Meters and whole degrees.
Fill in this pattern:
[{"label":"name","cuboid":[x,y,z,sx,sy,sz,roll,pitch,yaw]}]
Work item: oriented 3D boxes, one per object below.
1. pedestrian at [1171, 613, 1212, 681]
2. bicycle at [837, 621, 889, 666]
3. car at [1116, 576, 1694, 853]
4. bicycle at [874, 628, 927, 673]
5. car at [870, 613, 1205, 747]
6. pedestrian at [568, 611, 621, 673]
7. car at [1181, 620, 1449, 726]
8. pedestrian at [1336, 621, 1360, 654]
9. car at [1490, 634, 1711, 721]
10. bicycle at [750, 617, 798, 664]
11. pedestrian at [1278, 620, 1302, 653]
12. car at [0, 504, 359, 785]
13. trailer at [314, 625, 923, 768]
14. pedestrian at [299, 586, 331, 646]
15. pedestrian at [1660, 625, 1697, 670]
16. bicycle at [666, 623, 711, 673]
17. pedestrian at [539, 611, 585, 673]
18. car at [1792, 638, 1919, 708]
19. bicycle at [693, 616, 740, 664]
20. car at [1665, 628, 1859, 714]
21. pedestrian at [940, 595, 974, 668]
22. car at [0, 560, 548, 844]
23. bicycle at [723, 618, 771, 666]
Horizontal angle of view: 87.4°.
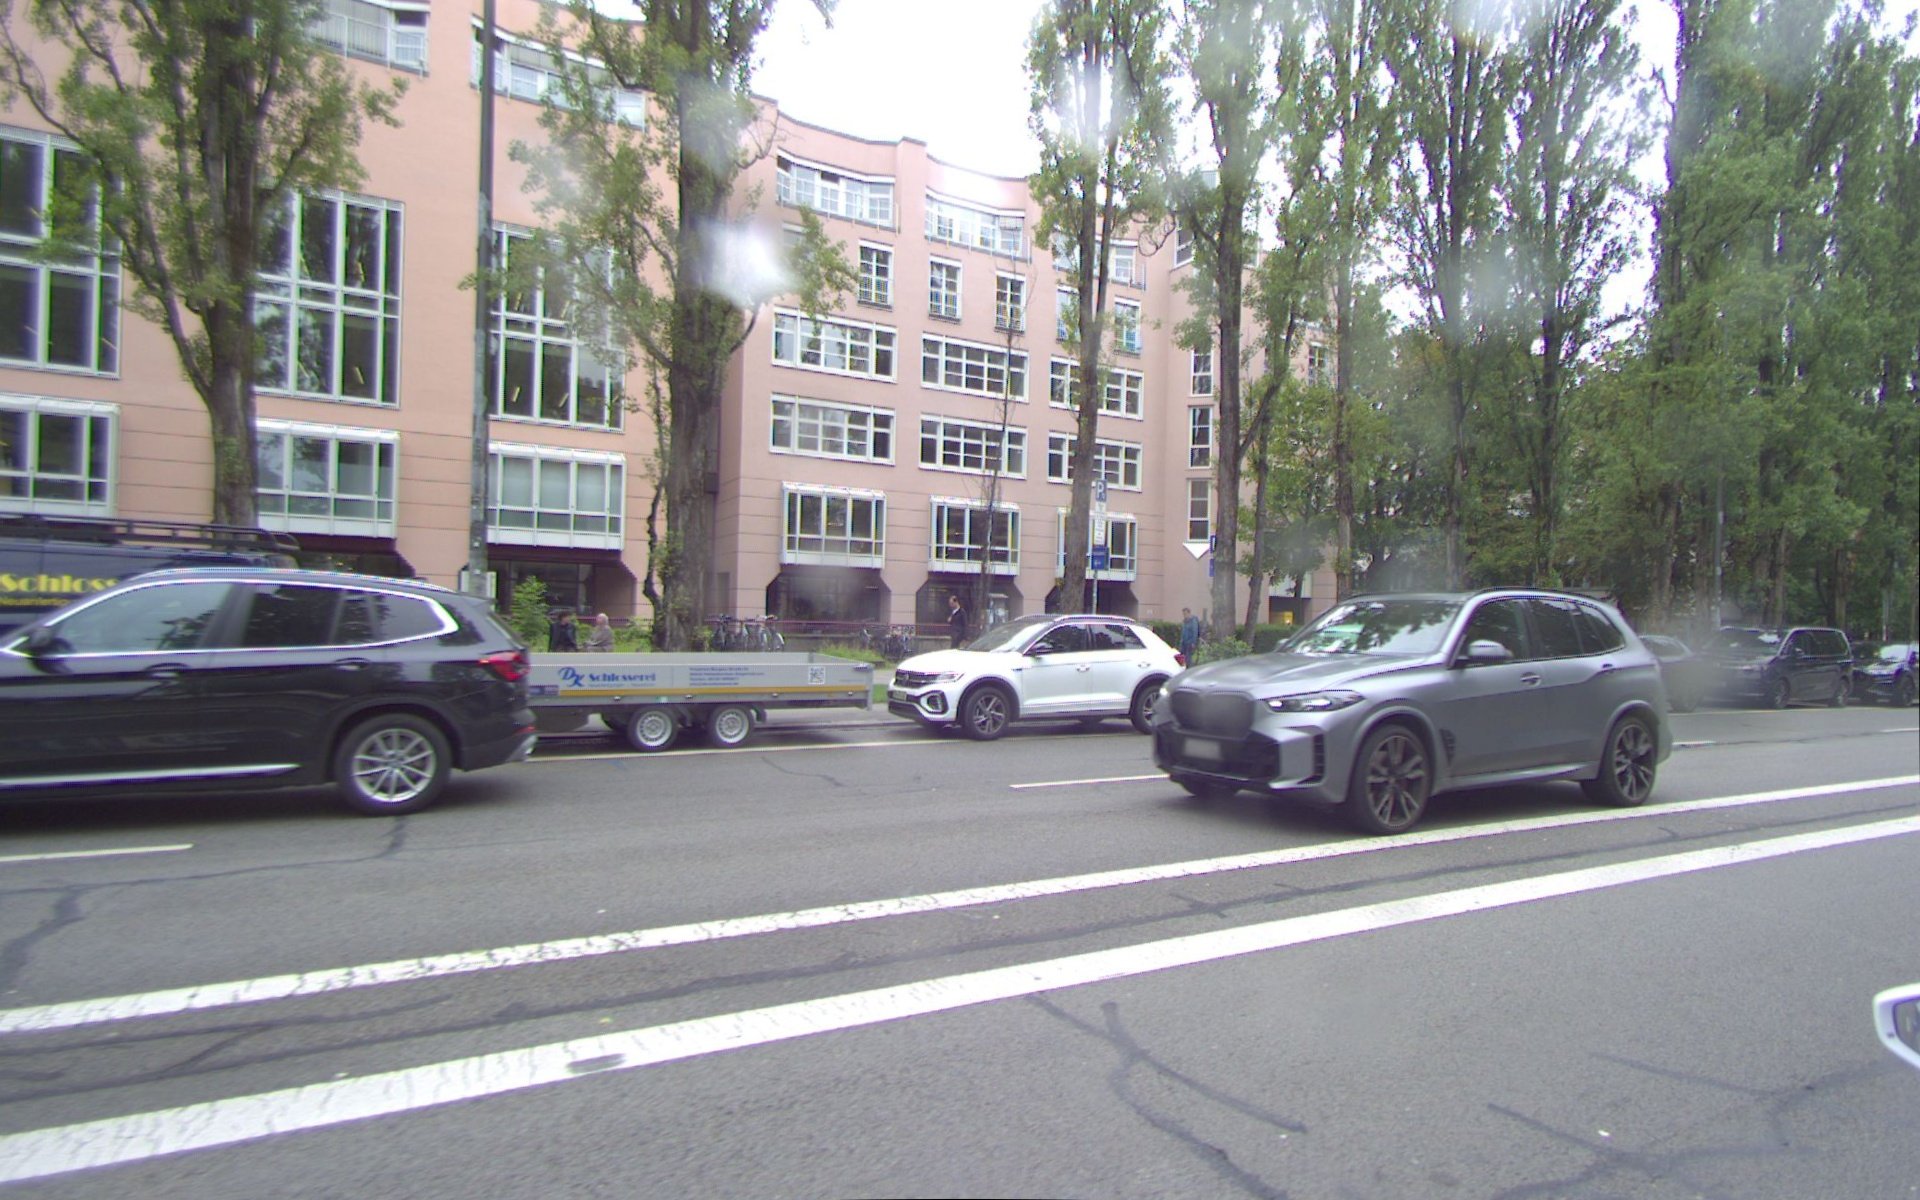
[{"label":"pedestrian","cuboid":[6.085,1.226,26.411,0.722,1.736,0.704,2,-1,-28]},{"label":"bicycle","cuboid":[-2.662,1.173,27.313,0.667,1.139,2.092,2,-1,-27]},{"label":"car","cuboid":[3.783,0.826,8.359,4.702,1.739,1.985,2,-2,-29]},{"label":"bicycle","cuboid":[-1.648,1.360,27.440,0.667,1.139,1.975,2,-1,-27]},{"label":"car","cuboid":[1.071,1.010,13.520,4.179,1.562,1.794,2,-2,-27]},{"label":"pedestrian","cuboid":[-7.446,0.849,20.477,0.695,1.203,0.732,2,-1,11]},{"label":"car","cuboid":[6.055,1.181,17.054,4.273,1.562,1.984,2,-1,-30]},{"label":"pedestrian","cuboid":[20.628,1.978,53.388,0.886,1.684,0.811,2,-1,-28]},{"label":"car","cuboid":[13.154,1.539,20.606,4.270,1.562,1.986,2,-1,-28]},{"label":"bicycle","cuboid":[-4.844,1.039,26.029,0.667,1.139,1.975,2,-1,-27]},{"label":"pedestrian","cuboid":[17.540,1.937,53.401,0.886,1.684,0.811,2,-1,-28]},{"label":"car","cuboid":[-8.443,0.339,8.651,5.429,2.226,2.009,2,-1,-29]},{"label":"trailer","cuboid":[-3.612,0.978,11.354,5.964,1.215,2.387,2,-1,-28]},{"label":"pedestrian","cuboid":[-18.733,0.456,29.191,0.640,1.714,0.671,2,-1,-26]},{"label":"pedestrian","cuboid":[27.804,1.825,38.876,0.886,1.684,0.811,2,-1,-28]},{"label":"bicycle","cuboid":[-6.757,1.178,24.930,0.667,1.139,1.975,2,-1,-27]},{"label":"pedestrian","cuboid":[-7.964,0.829,20.079,0.723,1.203,0.703,2,-1,-31]},{"label":"car","cuboid":[23.850,1.869,26.224,4.304,1.628,1.983,2,-1,-31]},{"label":"bicycle","cuboid":[-6.157,0.988,25.312,0.667,1.139,1.975,2,-1,-27]},{"label":"car","cuboid":[19.107,1.647,23.900,4.704,1.821,1.985,2,-1,-29]},{"label":"pedestrian","cuboid":[-0.075,0.707,22.758,0.646,1.626,0.558,2,-1,-8]},{"label":"car","cuboid":[-5.452,0.636,7.119,4.495,1.664,1.985,2,-2,-29]},{"label":"bicycle","cuboid":[-5.429,1.046,25.556,0.667,1.139,1.975,2,-1,-27]}]
